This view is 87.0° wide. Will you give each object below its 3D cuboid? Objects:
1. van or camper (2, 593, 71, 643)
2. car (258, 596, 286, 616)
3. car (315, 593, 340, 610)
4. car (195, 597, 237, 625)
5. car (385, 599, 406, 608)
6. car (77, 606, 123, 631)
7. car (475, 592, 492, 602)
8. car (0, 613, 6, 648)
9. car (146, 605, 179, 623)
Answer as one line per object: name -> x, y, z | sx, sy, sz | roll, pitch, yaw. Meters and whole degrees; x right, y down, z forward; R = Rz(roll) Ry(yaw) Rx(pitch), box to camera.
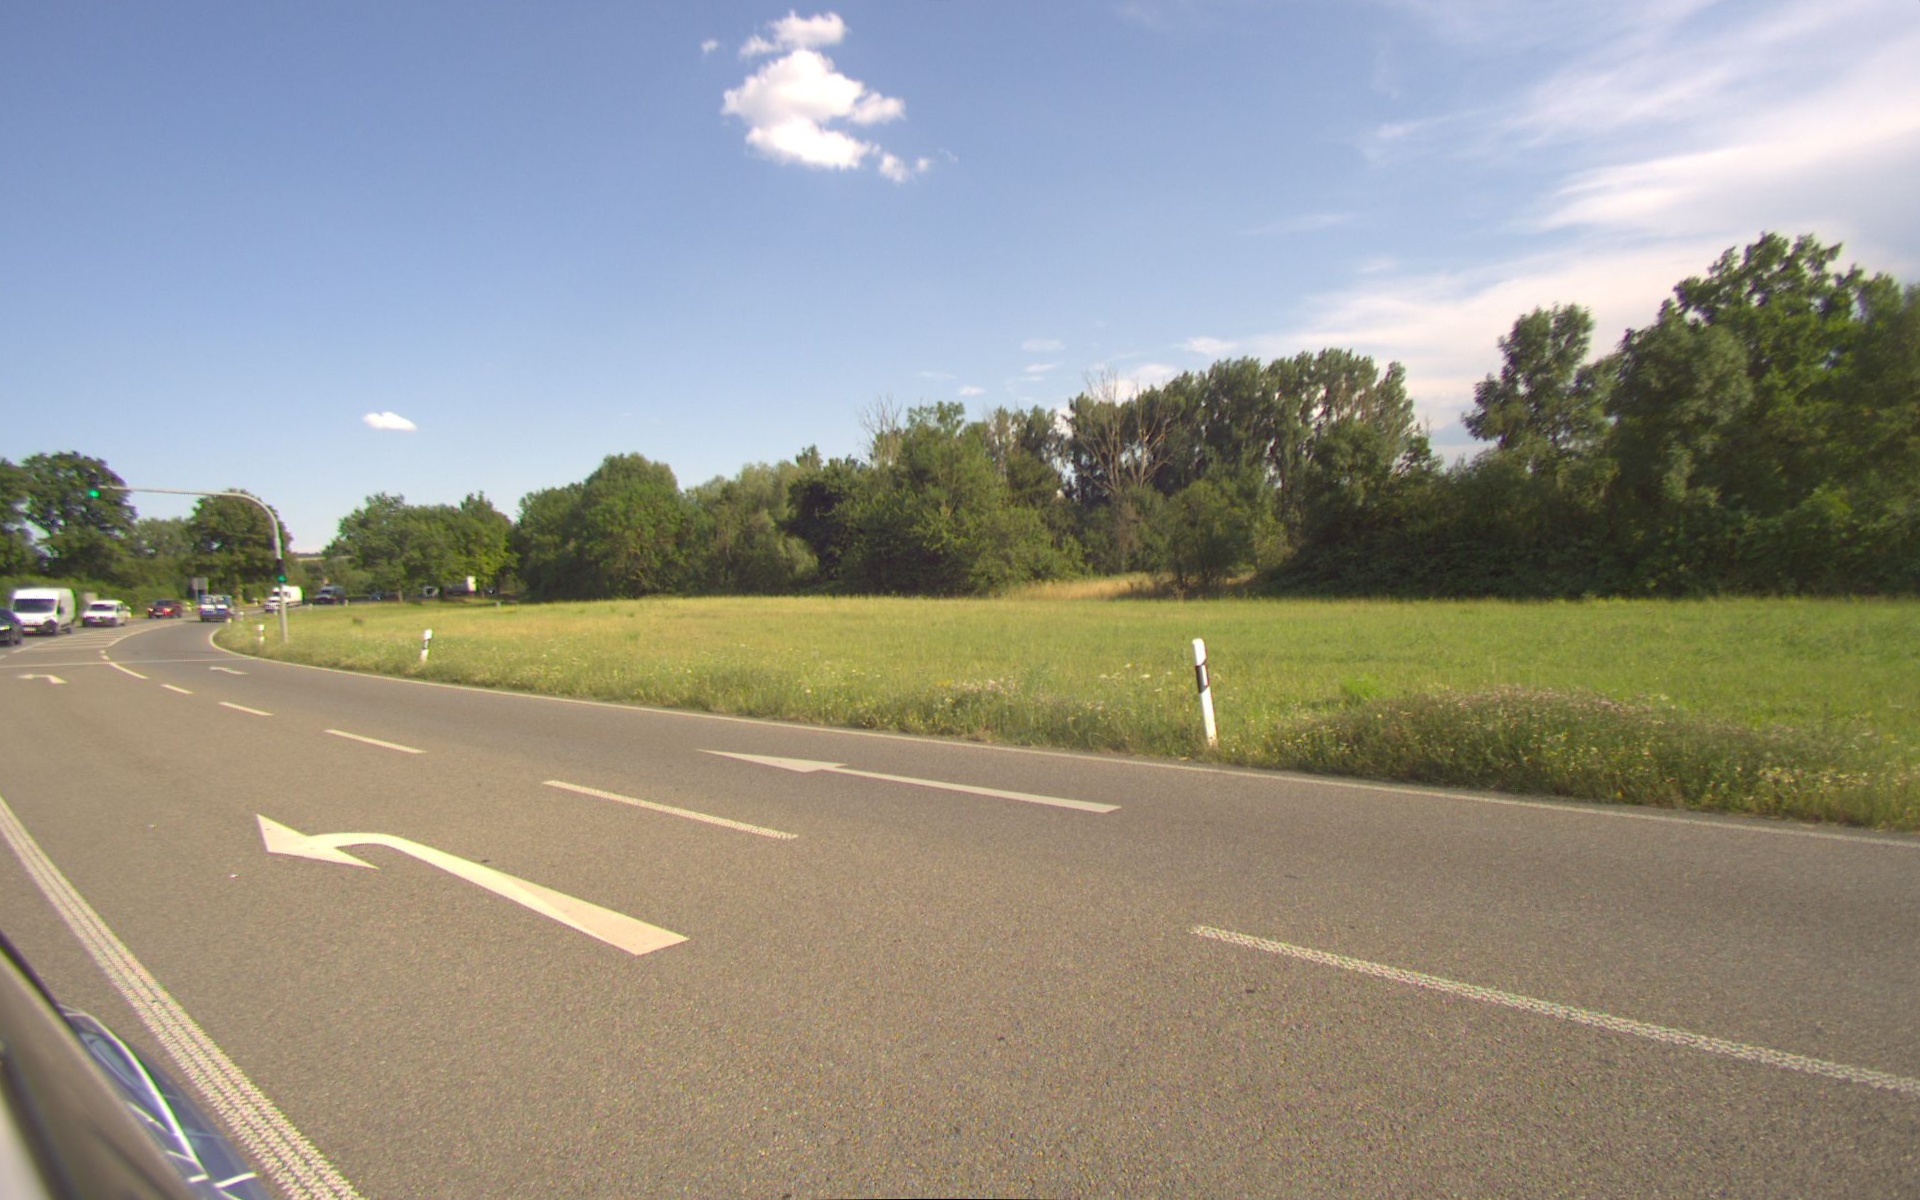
van or camper -> -49.724, 0.928, 54.576 | 2.002, 2.494, 5.090 | -3, 1, -35
car -> -74.144, 0.620, 109.090 | 1.756, 2.028, 3.858 | -3, 1, -24
car -> -92.476, 0.202, 147.998 | 1.966, 2.405, 4.952 | -3, 1, -19
car -> -59.693, 0.891, 81.269 | 1.970, 2.153, 4.794 | -1, 0, -27
car -> -91.246, 0.571, 163.493 | 1.567, 1.478, 3.609 | 0, -1, -3
car -> -57.928, 1.219, 68.224 | 1.646, 1.490, 3.505 | -3, 1, -29
car -> -93.804, -0.660, 199.320 | 1.704, 1.897, 4.339 | 0, -1, -4
car -> -41.159, 1.278, 42.290 | 1.583, 1.490, 3.623 | 2, -2, -39
car -> -70.885, 1.219, 90.035 | 1.646, 1.490, 3.505 | -3, 1, -28
